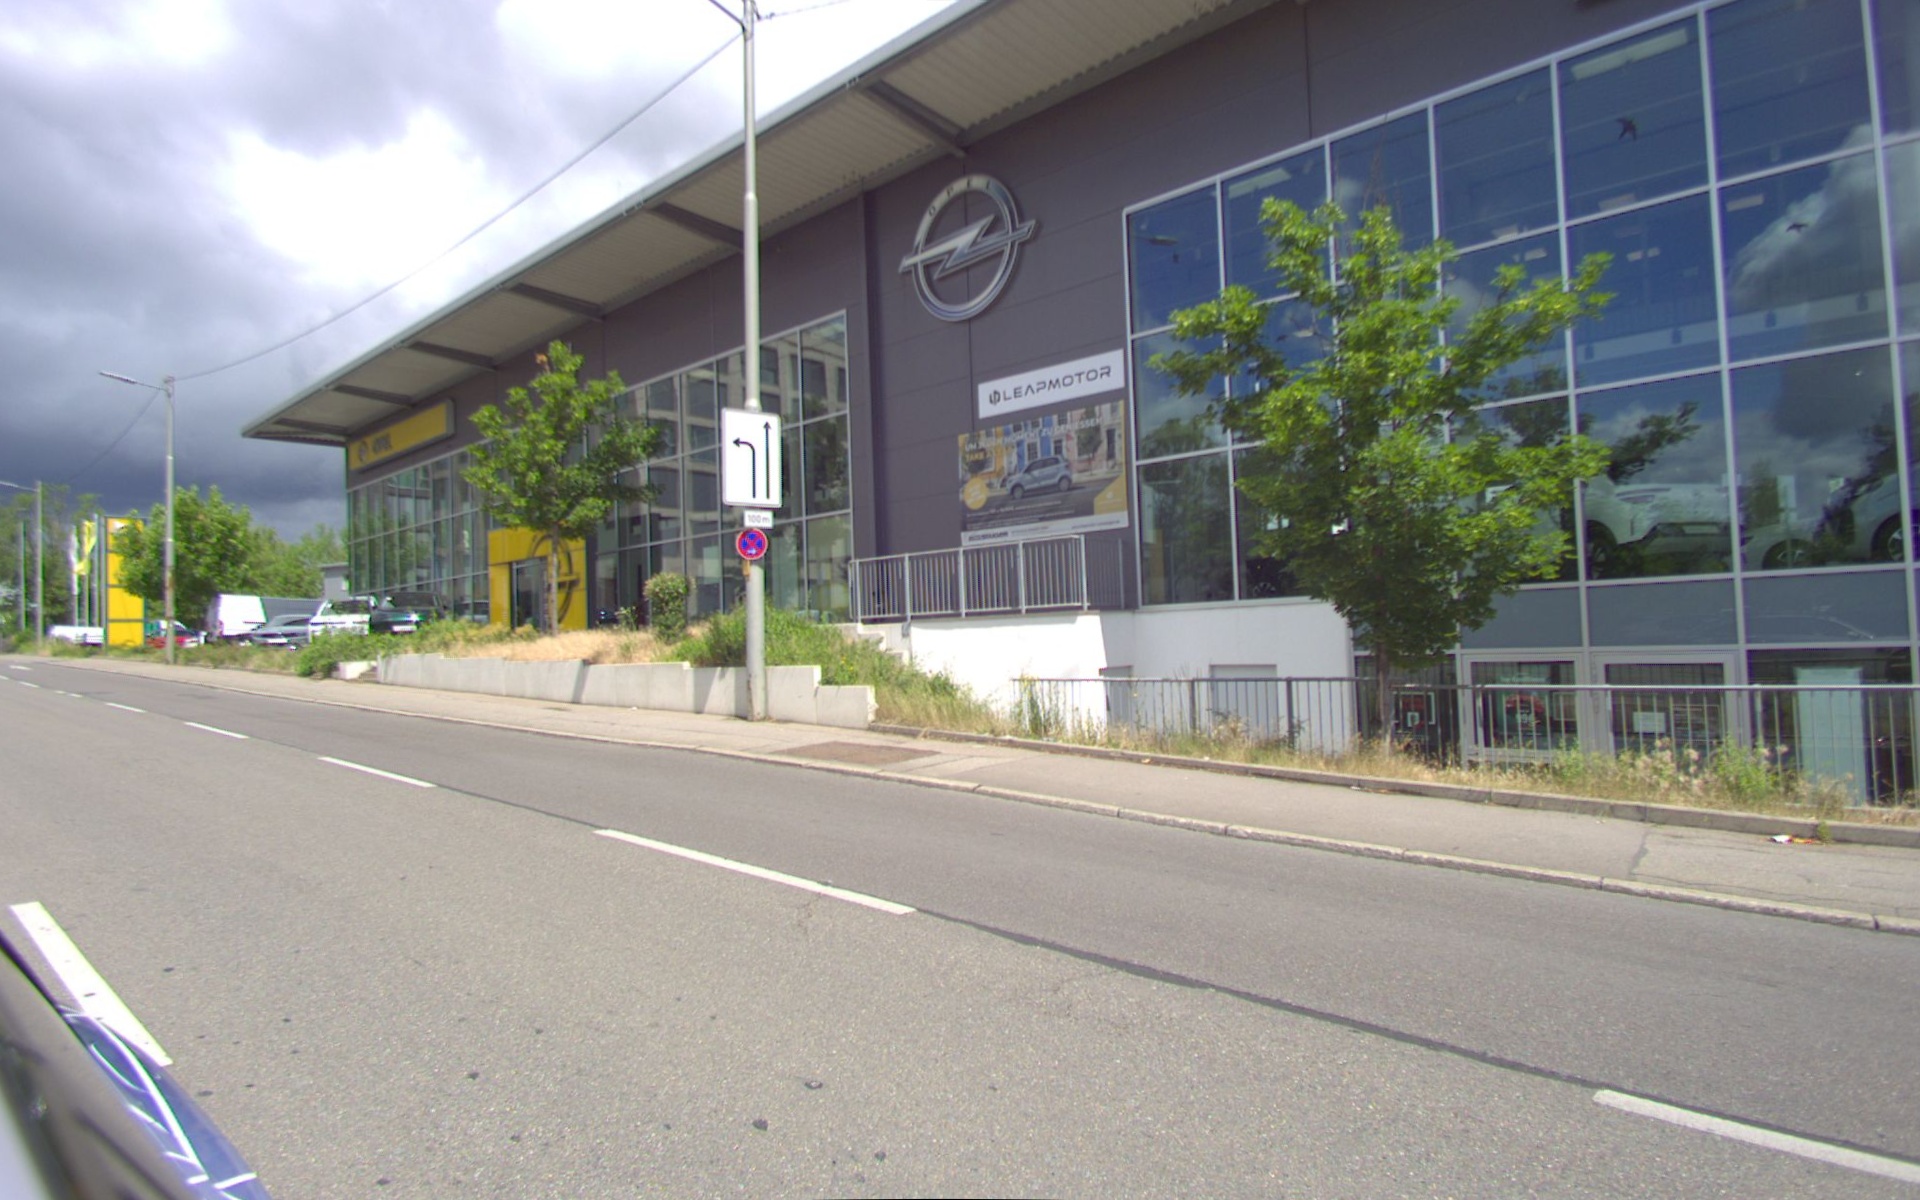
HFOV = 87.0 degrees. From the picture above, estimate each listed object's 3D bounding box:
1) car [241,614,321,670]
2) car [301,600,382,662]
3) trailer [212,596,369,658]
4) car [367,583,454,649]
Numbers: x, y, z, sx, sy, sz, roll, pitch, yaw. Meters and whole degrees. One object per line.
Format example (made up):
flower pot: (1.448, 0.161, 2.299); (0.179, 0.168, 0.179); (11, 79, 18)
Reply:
car: (-23.484, 1.411, 35.152); (1.966, 1.807, 4.012); (1, -1, -29)
car: (-19.219, 0.951, 31.590); (1.966, 1.807, 4.012); (1, -2, -29)
trailer: (-27.432, 1.091, 41.605); (1.998, 2.367, 5.011); (-1, -2, 39)
car: (-15.693, 0.475, 28.802); (1.966, 1.741, 4.011); (1, -2, -31)
